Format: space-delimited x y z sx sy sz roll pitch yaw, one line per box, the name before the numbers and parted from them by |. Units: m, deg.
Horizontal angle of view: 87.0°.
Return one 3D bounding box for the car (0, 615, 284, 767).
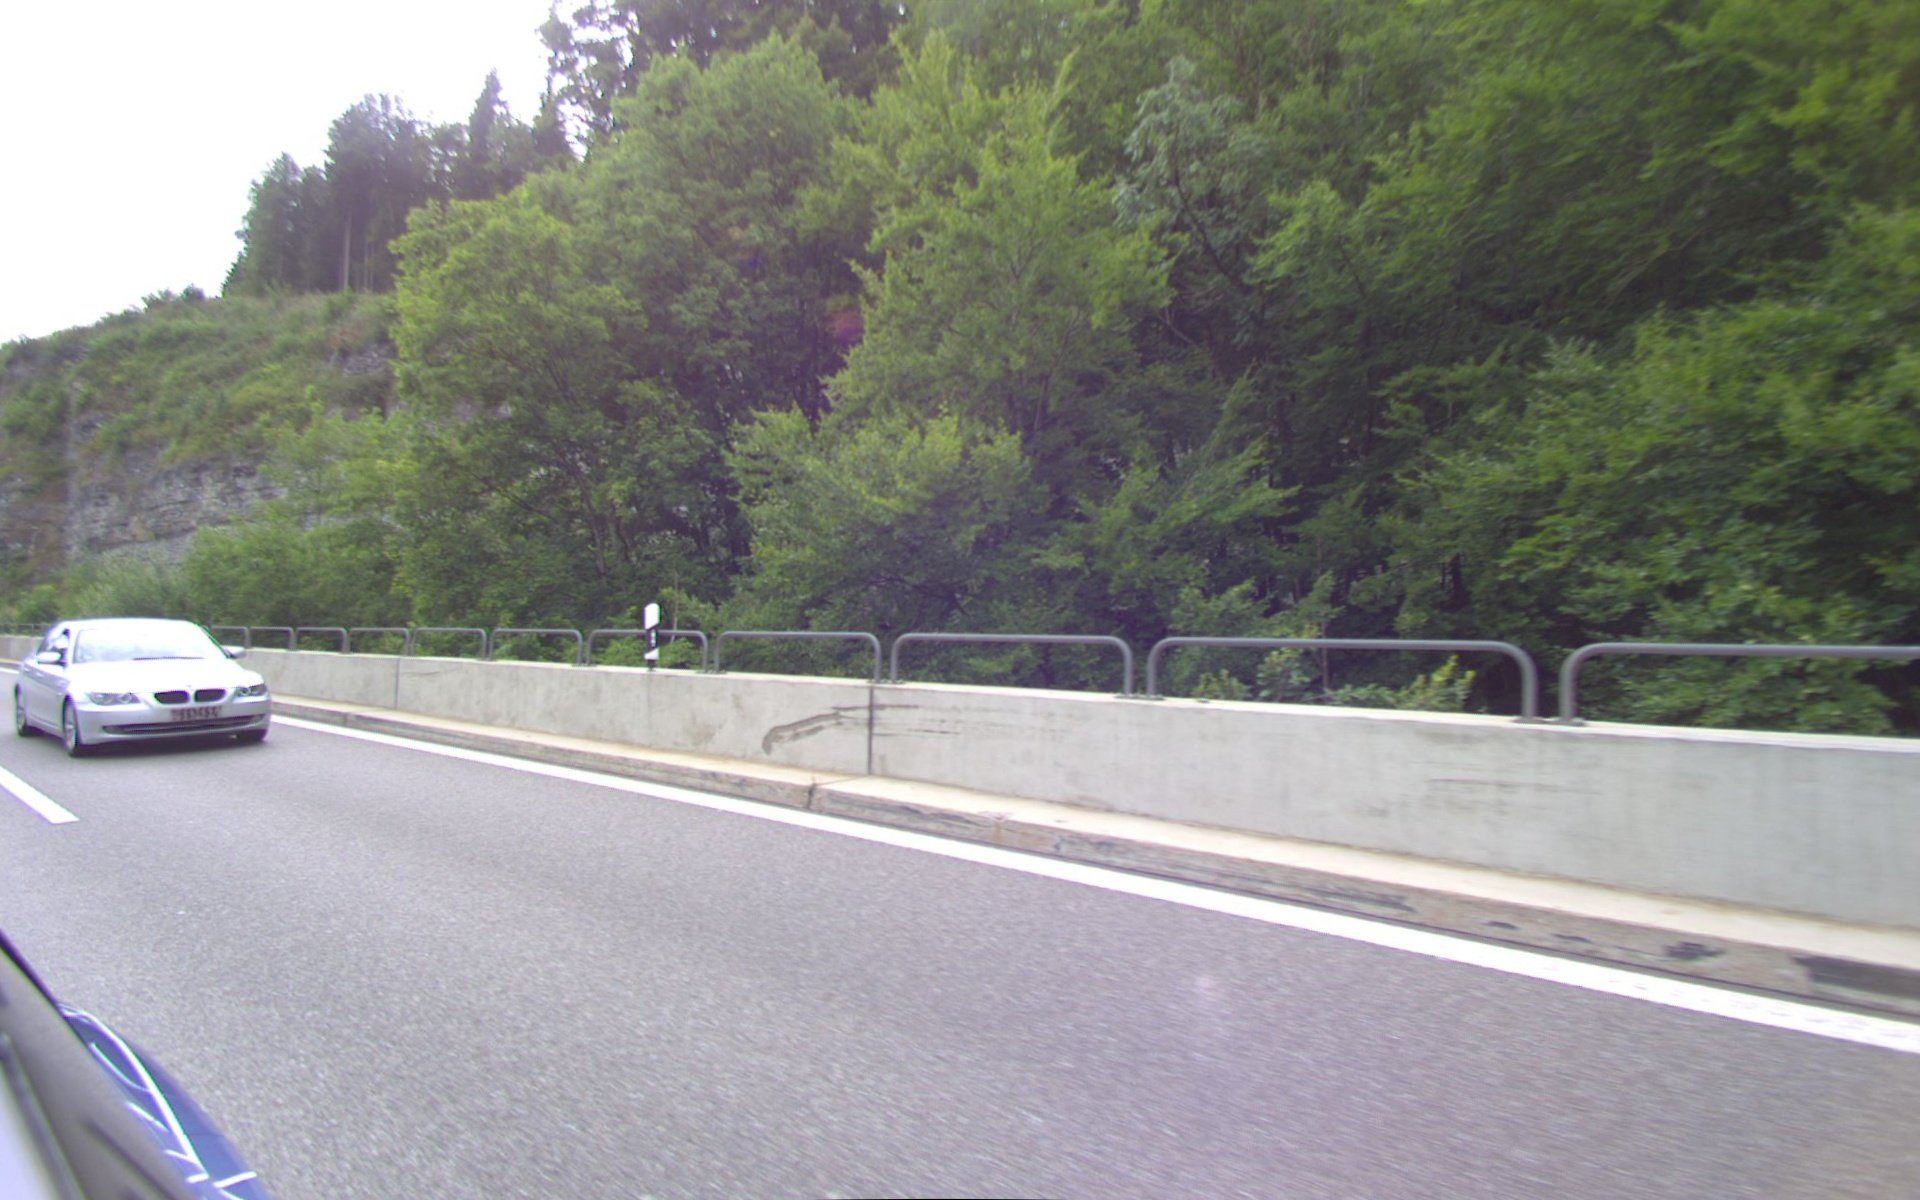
car | -10.168 0.962 12.364 5.131 1.468 1.810 -1 -1 40
